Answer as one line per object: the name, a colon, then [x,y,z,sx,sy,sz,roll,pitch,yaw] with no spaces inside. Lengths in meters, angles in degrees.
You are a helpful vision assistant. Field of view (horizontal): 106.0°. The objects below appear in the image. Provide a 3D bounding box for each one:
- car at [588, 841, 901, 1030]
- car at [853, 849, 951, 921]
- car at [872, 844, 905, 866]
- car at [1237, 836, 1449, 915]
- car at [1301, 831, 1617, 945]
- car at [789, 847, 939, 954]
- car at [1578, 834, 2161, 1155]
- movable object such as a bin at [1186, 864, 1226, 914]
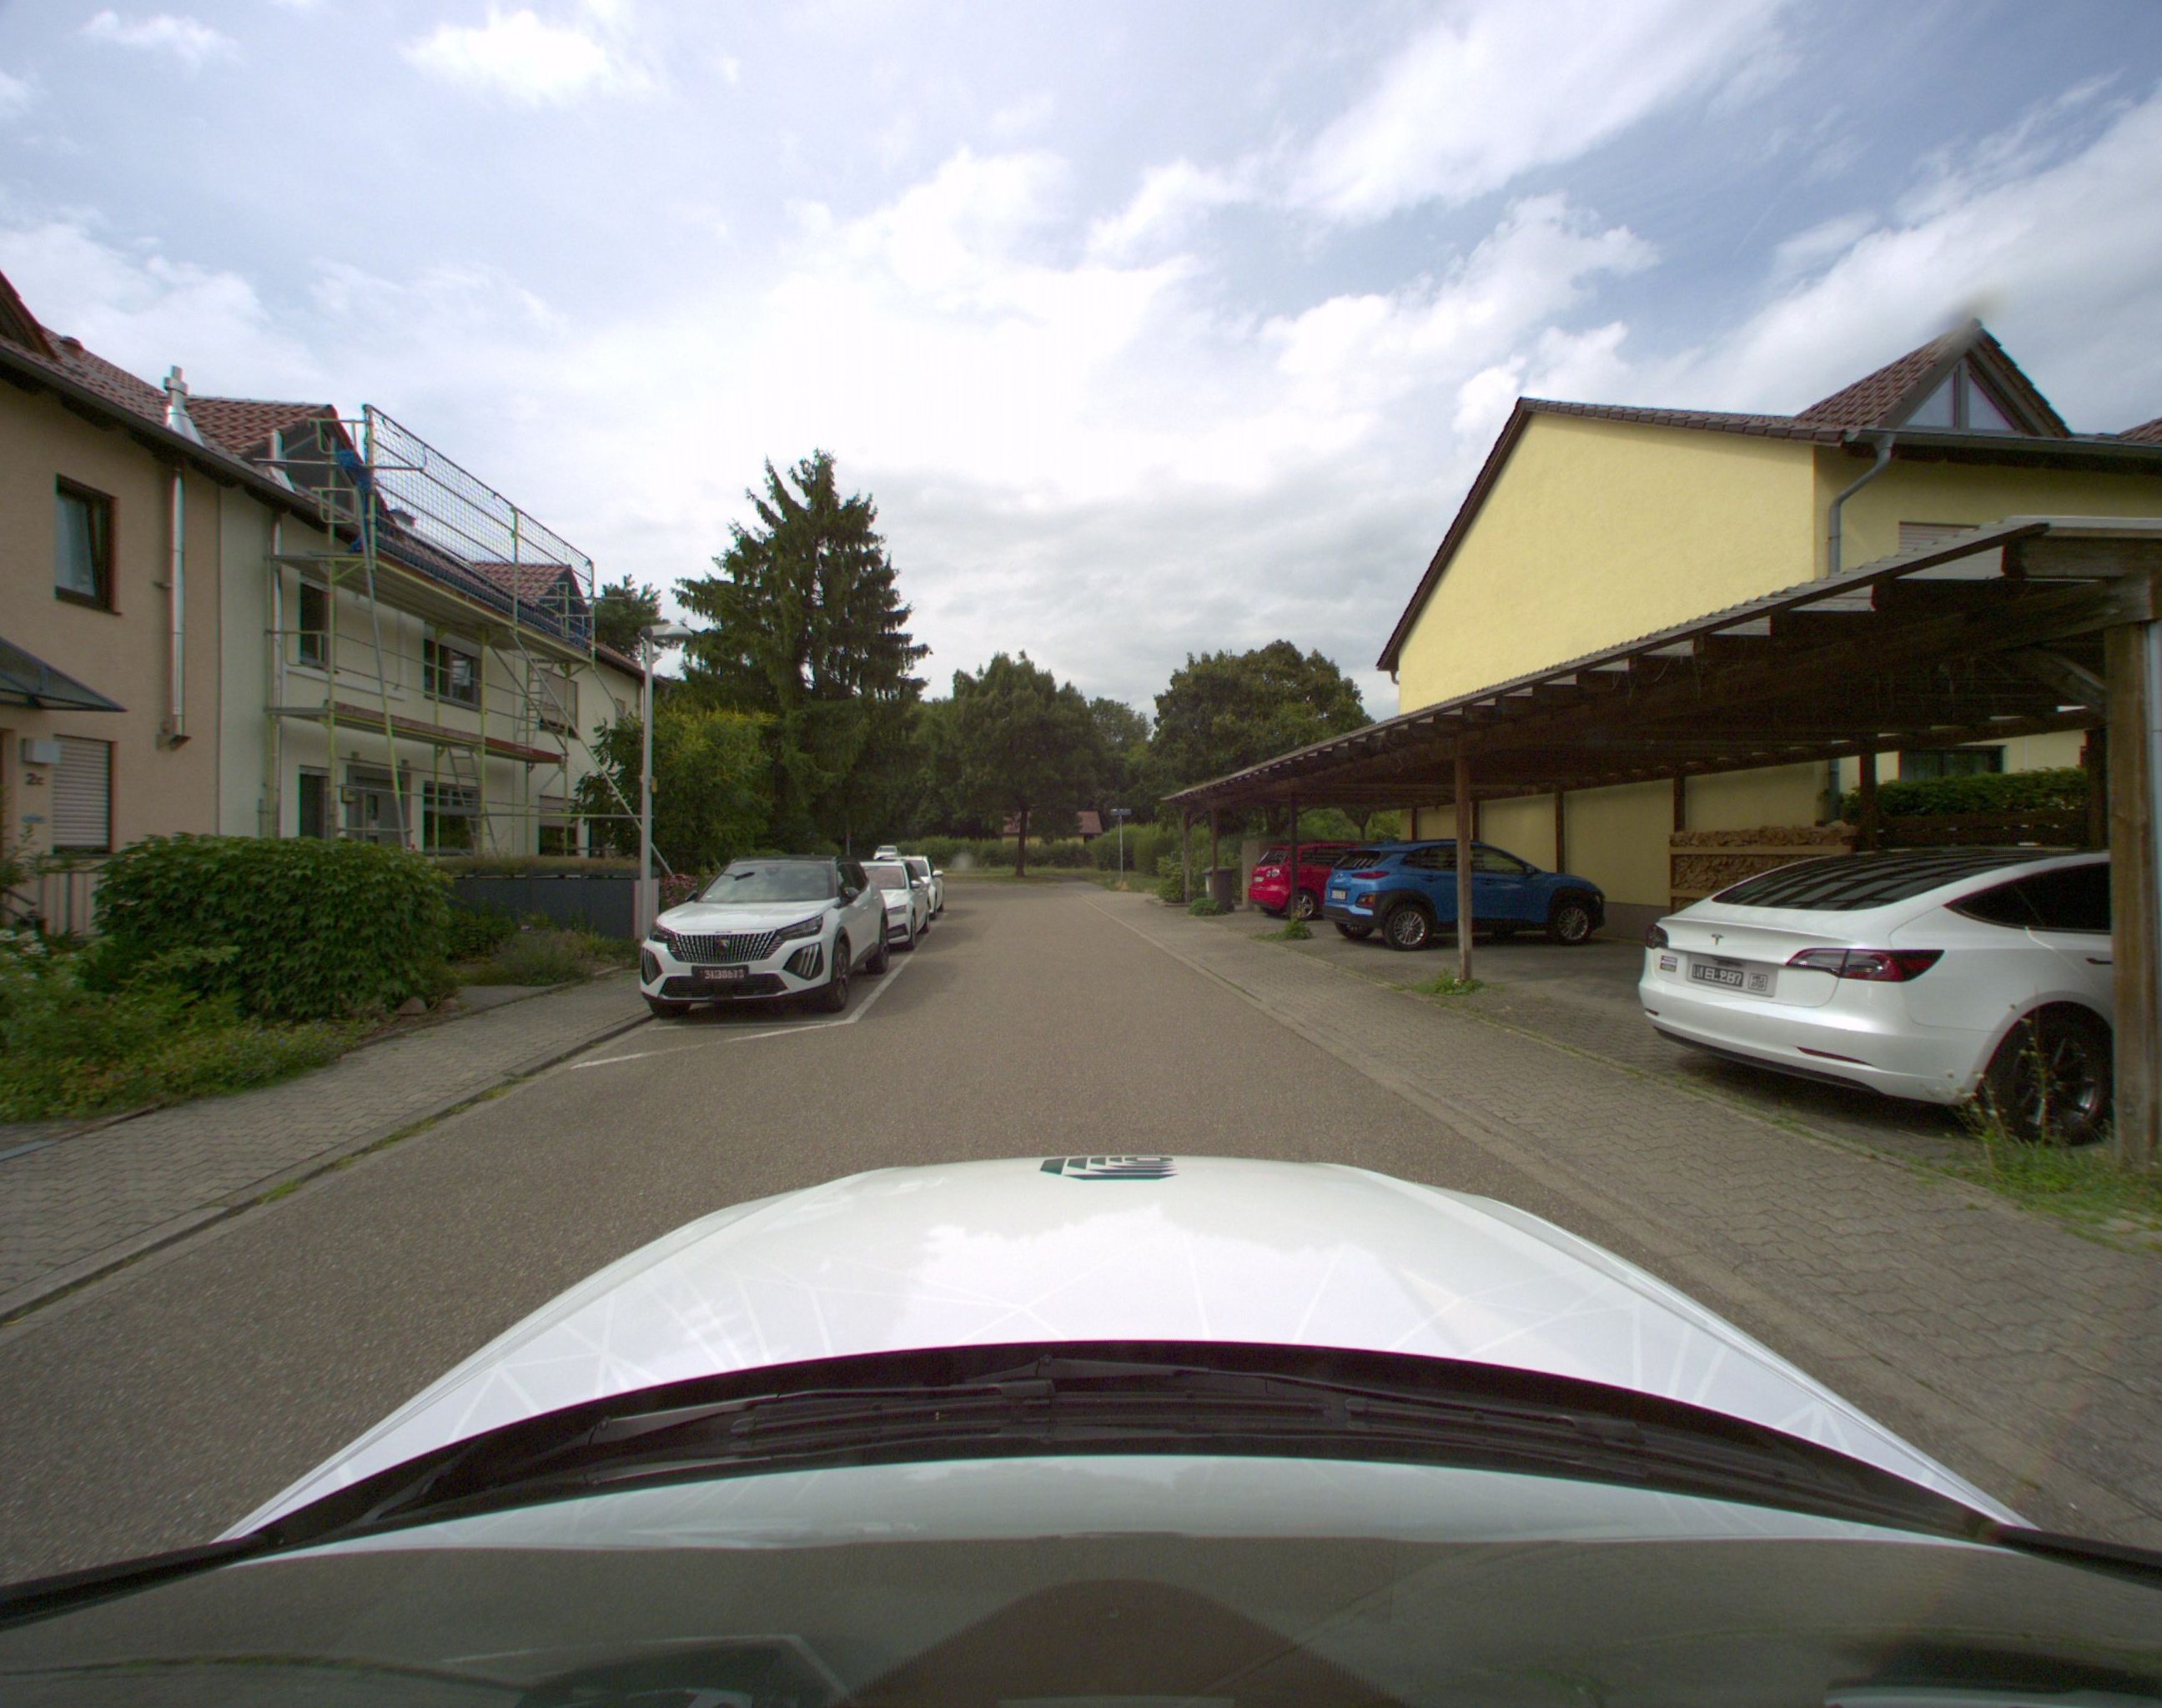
car: [-3.355,0.667,9.232,1.931,1.556,4.626,-1,0,-5]
car: [-4.271,0.669,20.033,1.789,1.531,4.133,-1,0,-5]
car: [-15.295,0.056,64.844,1.934,1.660,4.333,0,0,-5]
car: [5.546,0.420,17.483,3.955,1.540,1.834,-1,0,-9]
car: [5.702,0.461,12.560,4.044,1.522,1.945,-1,0,-9]
car: [-3.659,0.682,14.619,1.807,1.562,4.838,-1,0,-6]
car: [5.811,0.607,5.003,4.446,1.433,2.022,-1,0,-8]
movable object such as a bin: [2.810,0.787,18.407,0.699,1.072,0.709,-2,0,-9]
